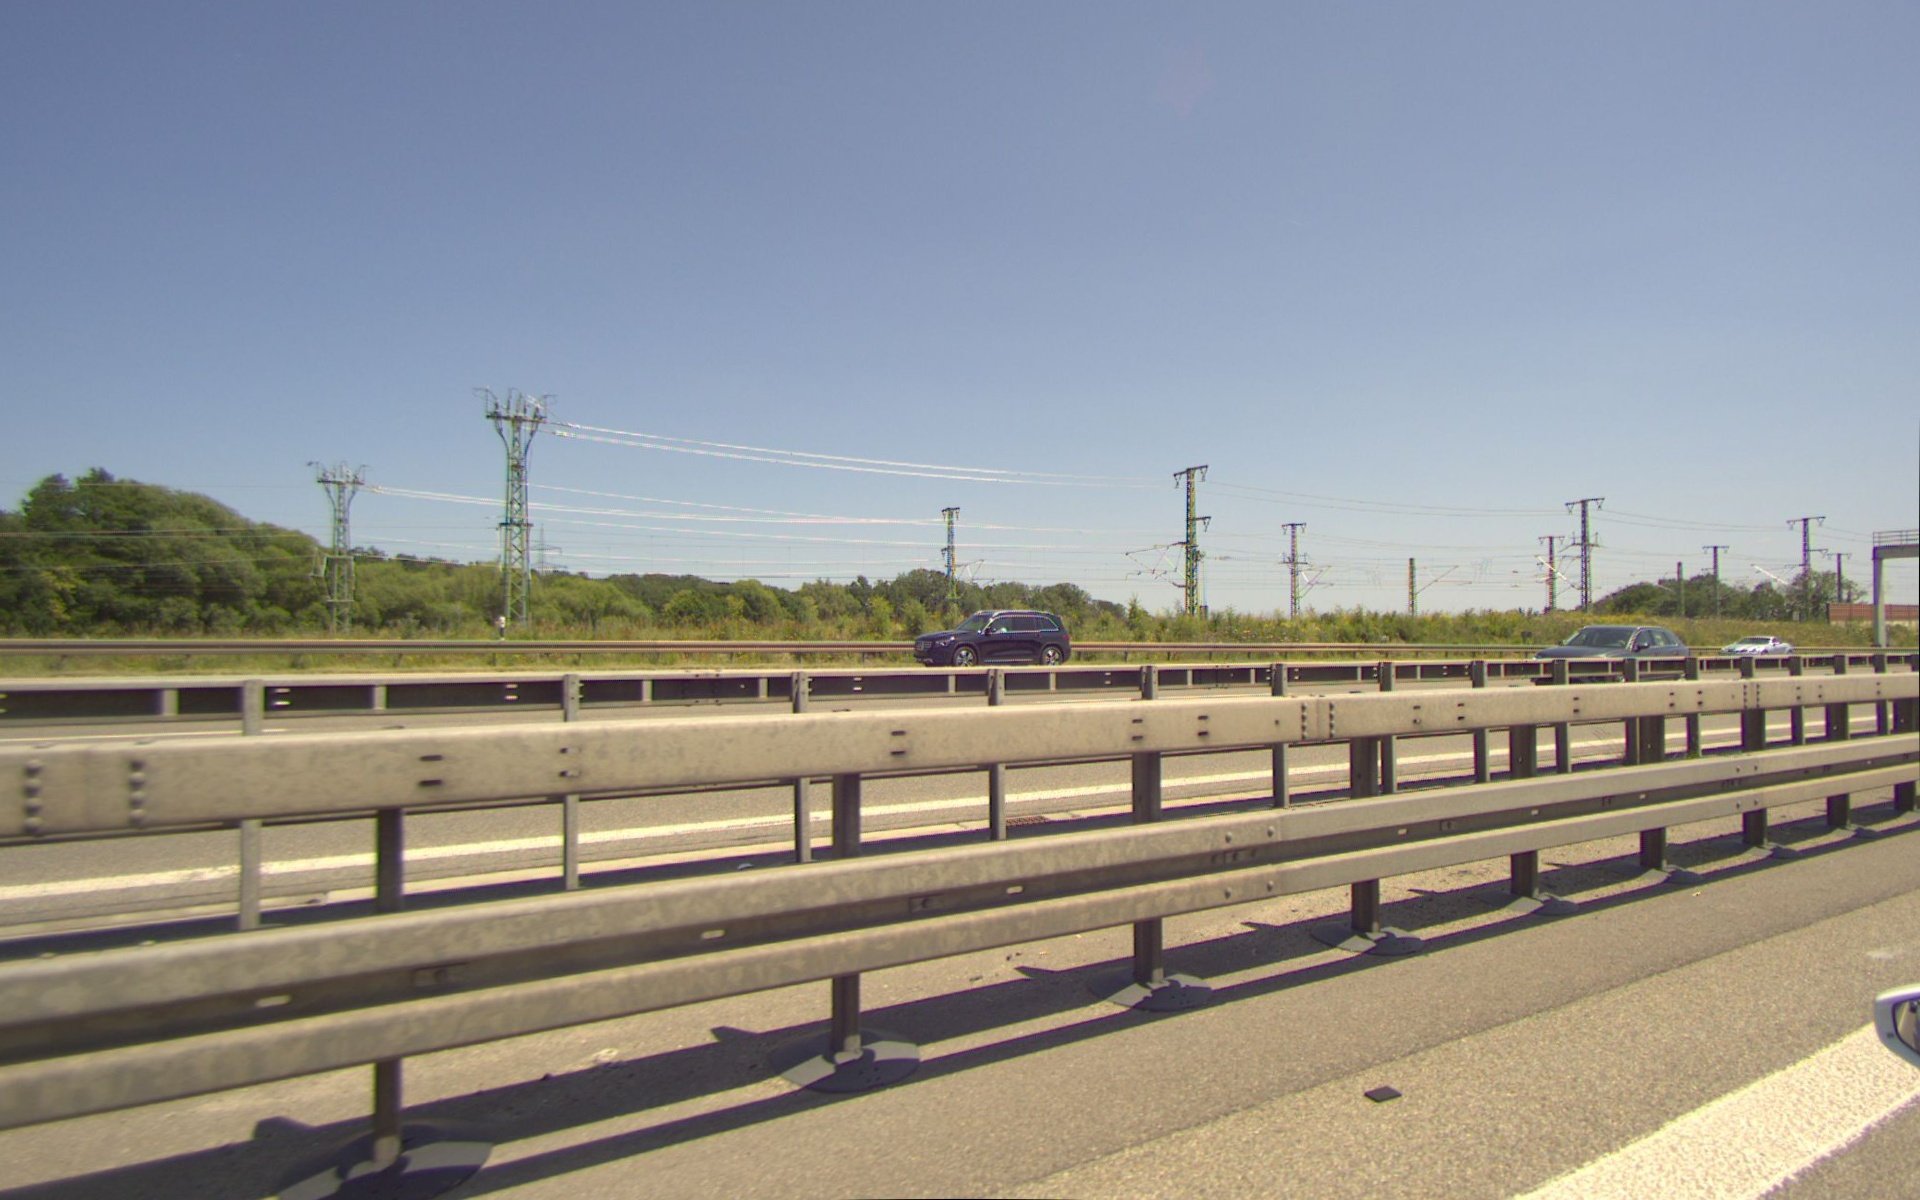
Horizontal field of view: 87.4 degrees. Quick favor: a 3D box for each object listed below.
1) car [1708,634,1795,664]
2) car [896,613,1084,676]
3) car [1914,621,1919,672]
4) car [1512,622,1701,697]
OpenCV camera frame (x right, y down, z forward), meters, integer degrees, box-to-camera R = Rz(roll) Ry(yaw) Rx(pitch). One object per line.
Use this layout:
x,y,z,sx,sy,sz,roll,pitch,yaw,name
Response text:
38.589,2.364,48.950,4.115,1.329,1.984,1,-1,-30,car
0.856,1.197,27.740,4.874,1.618,1.985,1,-1,-29,car
37.309,1.731,36.821,5.534,1.855,1.984,1,-1,-31,car
15.195,1.341,23.567,4.498,1.595,1.983,1,-1,-31,car
